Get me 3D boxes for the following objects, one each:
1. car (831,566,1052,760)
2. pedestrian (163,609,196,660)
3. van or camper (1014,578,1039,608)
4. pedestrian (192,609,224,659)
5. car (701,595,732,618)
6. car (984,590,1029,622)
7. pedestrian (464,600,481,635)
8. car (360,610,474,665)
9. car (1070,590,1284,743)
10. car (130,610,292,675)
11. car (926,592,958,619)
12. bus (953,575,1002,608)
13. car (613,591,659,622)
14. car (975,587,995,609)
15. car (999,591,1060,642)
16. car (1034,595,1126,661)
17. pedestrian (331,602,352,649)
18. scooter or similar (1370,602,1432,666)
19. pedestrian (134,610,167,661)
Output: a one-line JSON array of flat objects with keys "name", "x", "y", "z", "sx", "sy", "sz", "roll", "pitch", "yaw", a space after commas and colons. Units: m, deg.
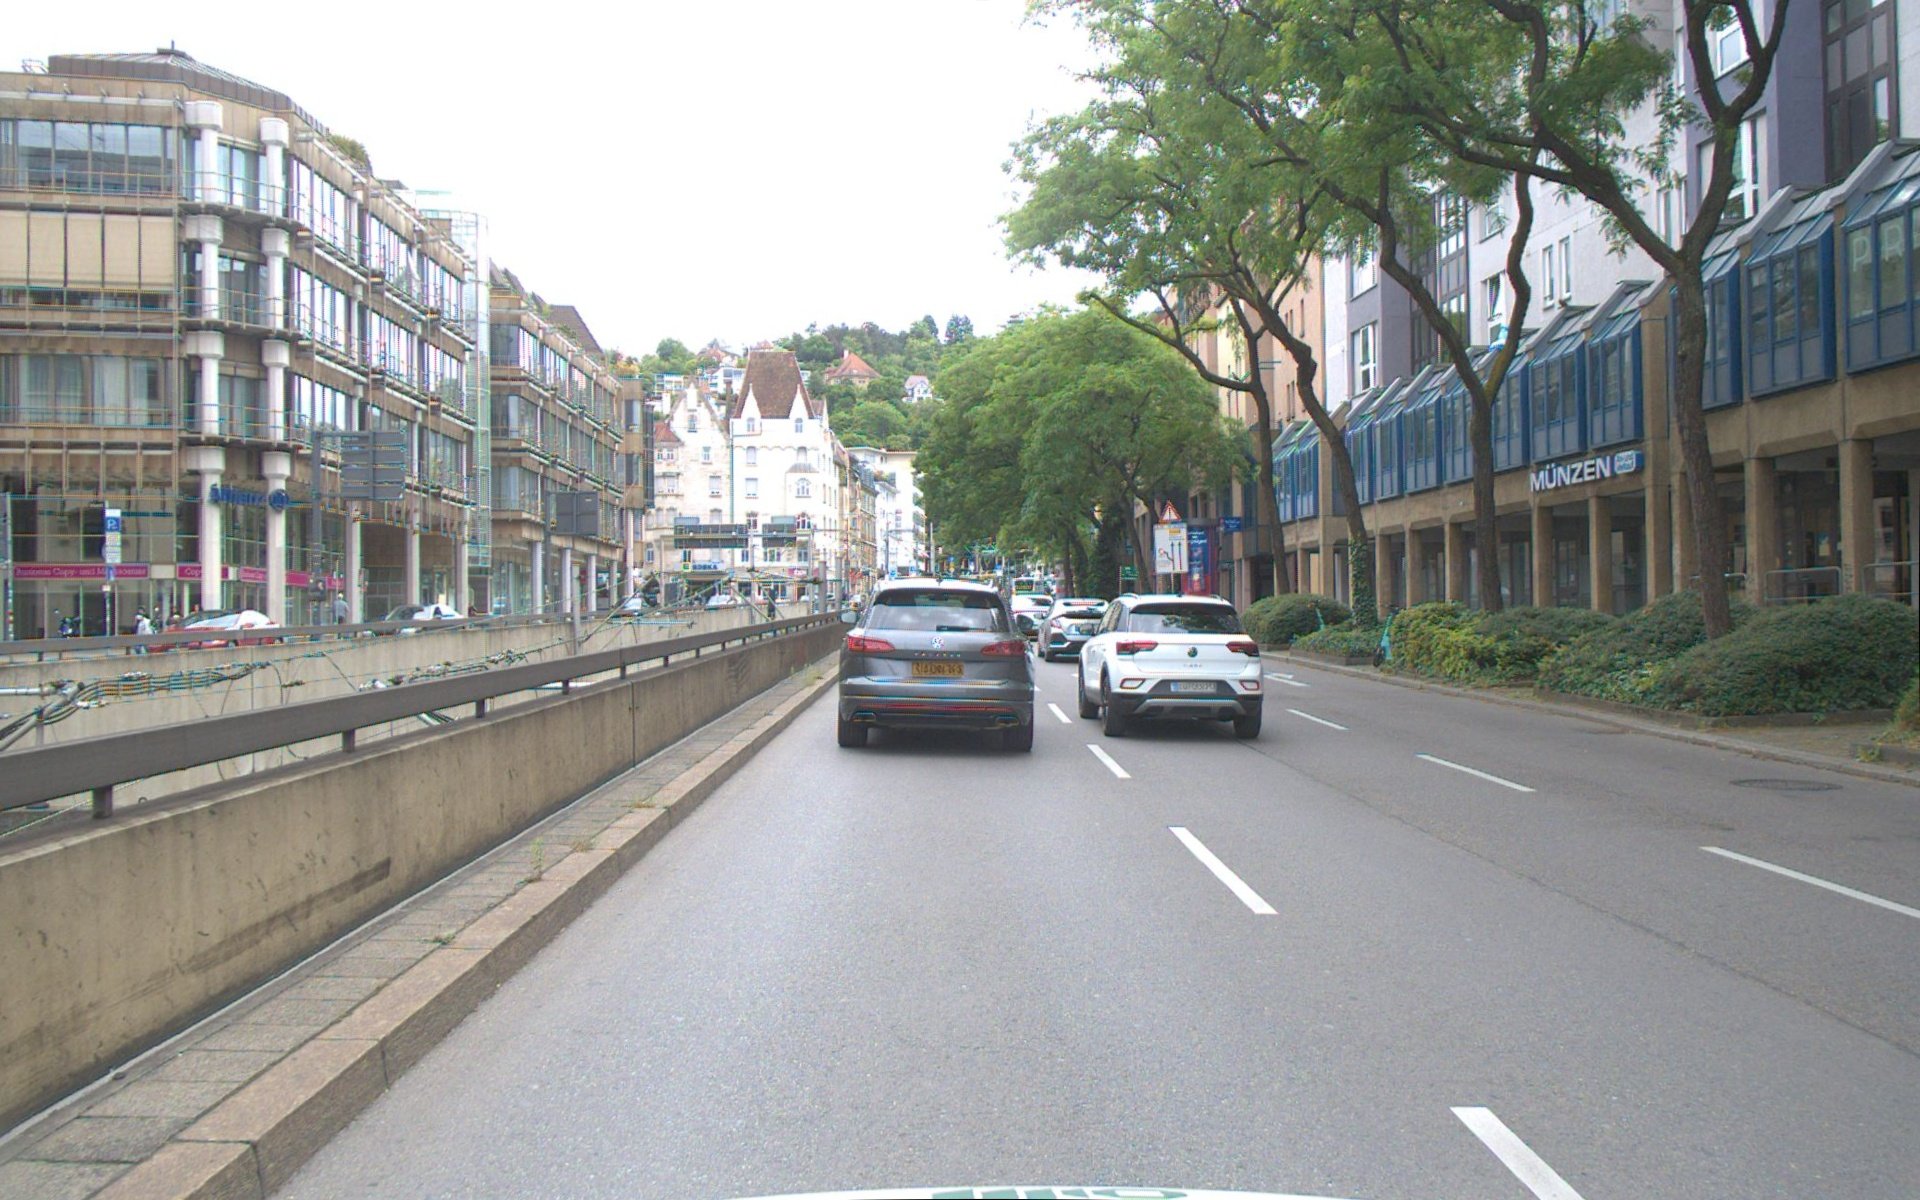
[{"name": "car", "x": -0.331, "y": 0.575, "z": 17.280, "sx": 1.932, "sy": 1.725, "sz": 4.220, "roll": 2, "pitch": 0, "yaw": -5}, {"name": "pedestrian", "x": -24.706, "y": 1.095, "z": 52.355, "sx": 0.687, "sy": 1.571, "sz": 0.845, "roll": -1, "pitch": 0, "yaw": -8}, {"name": "van or camper", "x": 7.477, "y": -0.775, "z": 184.778, "sx": 2.572, "sy": 3.234, "sz": 5.806, "roll": -1, "pitch": 0, "yaw": 4}, {"name": "pedestrian", "x": -23.862, "y": 1.076, "z": 52.490, "sx": 0.687, "sy": 1.571, "sz": 0.845, "roll": -1, "pitch": 0, "yaw": -8}, {"name": "car", "x": -19.938, "y": 0.518, "z": 135.784, "sx": 1.953, "sy": 1.798, "sz": 4.280, "roll": -1, "pitch": 0, "yaw": -1}, {"name": "car", "x": 2.114, "y": 0.256, "z": 76.375, "sx": 1.795, "sy": 1.387, "sz": 3.766, "roll": -2, "pitch": 0, "yaw": -2}, {"name": "pedestrian", "x": -26.224, "y": 0.940, "z": 88.927, "sx": 0.759, "sy": 1.856, "sz": 0.712, "roll": -1, "pitch": 0, "yaw": -10}, {"name": "car", "x": -17.483, "y": 1.163, "z": 53.532, "sx": 1.952, "sy": 1.613, "sz": 4.888, "roll": -1, "pitch": 0, "yaw": 2}, {"name": "car", "x": 2.438, "y": 0.695, "z": 19.478, "sx": 1.762, "sy": 1.572, "sz": 3.933, "roll": 2, "pitch": 0, "yaw": -3}, {"name": "car", "x": -18.954, "y": 1.035, "z": 42.142, "sx": 1.953, "sy": 1.490, "sz": 4.884, "roll": -1, "pitch": 0, "yaw": -1}, {"name": "car", "x": -1.108, "y": 0.340, "z": 102.053, "sx": 1.795, "sy": 1.594, "sz": 3.765, "roll": -2, "pitch": 0, "yaw": -3}, {"name": "bus", "x": 2.171, "y": -1.002, "z": 193.777, "sx": 3.768, "sy": 3.593, "sz": 17.258, "roll": -1, "pitch": 0, "yaw": 7}, {"name": "car", "x": -19.554, "y": 0.402, "z": 99.963, "sx": 1.953, "sy": 1.798, "sz": 4.280, "roll": -1, "pitch": 0, "yaw": -1}, {"name": "car", "x": 2.279, "y": -0.192, "z": 151.296, "sx": 1.794, "sy": 1.907, "sz": 4.871, "roll": -2, "pitch": 0, "yaw": 1}, {"name": "car", "x": 2.229, "y": 0.532, "z": 54.011, "sx": 1.794, "sy": 1.544, "sz": 3.767, "roll": -2, "pitch": 0, "yaw": 0}, {"name": "car", "x": 2.737, "y": 0.644, "z": 38.632, "sx": 1.796, "sy": 1.457, "sz": 4.146, "roll": 0, "pitch": -1, "yaw": -1}, {"name": "pedestrian", "x": -24.110, "y": 0.979, "z": 64.489, "sx": 0.521, "sy": 1.824, "sz": 0.694, "roll": 0, "pitch": 0, "yaw": 0}, {"name": "scooter or similar", "x": 8.620, "y": 0.658, "z": 32.365, "sx": 1.083, "sy": 1.202, "sz": 0.428, "roll": -2, "pitch": 0, "yaw": 9}, {"name": "pedestrian", "x": -25.563, "y": 1.118, "z": 52.218, "sx": 0.687, "sy": 1.571, "sz": 0.845, "roll": -1, "pitch": 0, "yaw": -8}]
